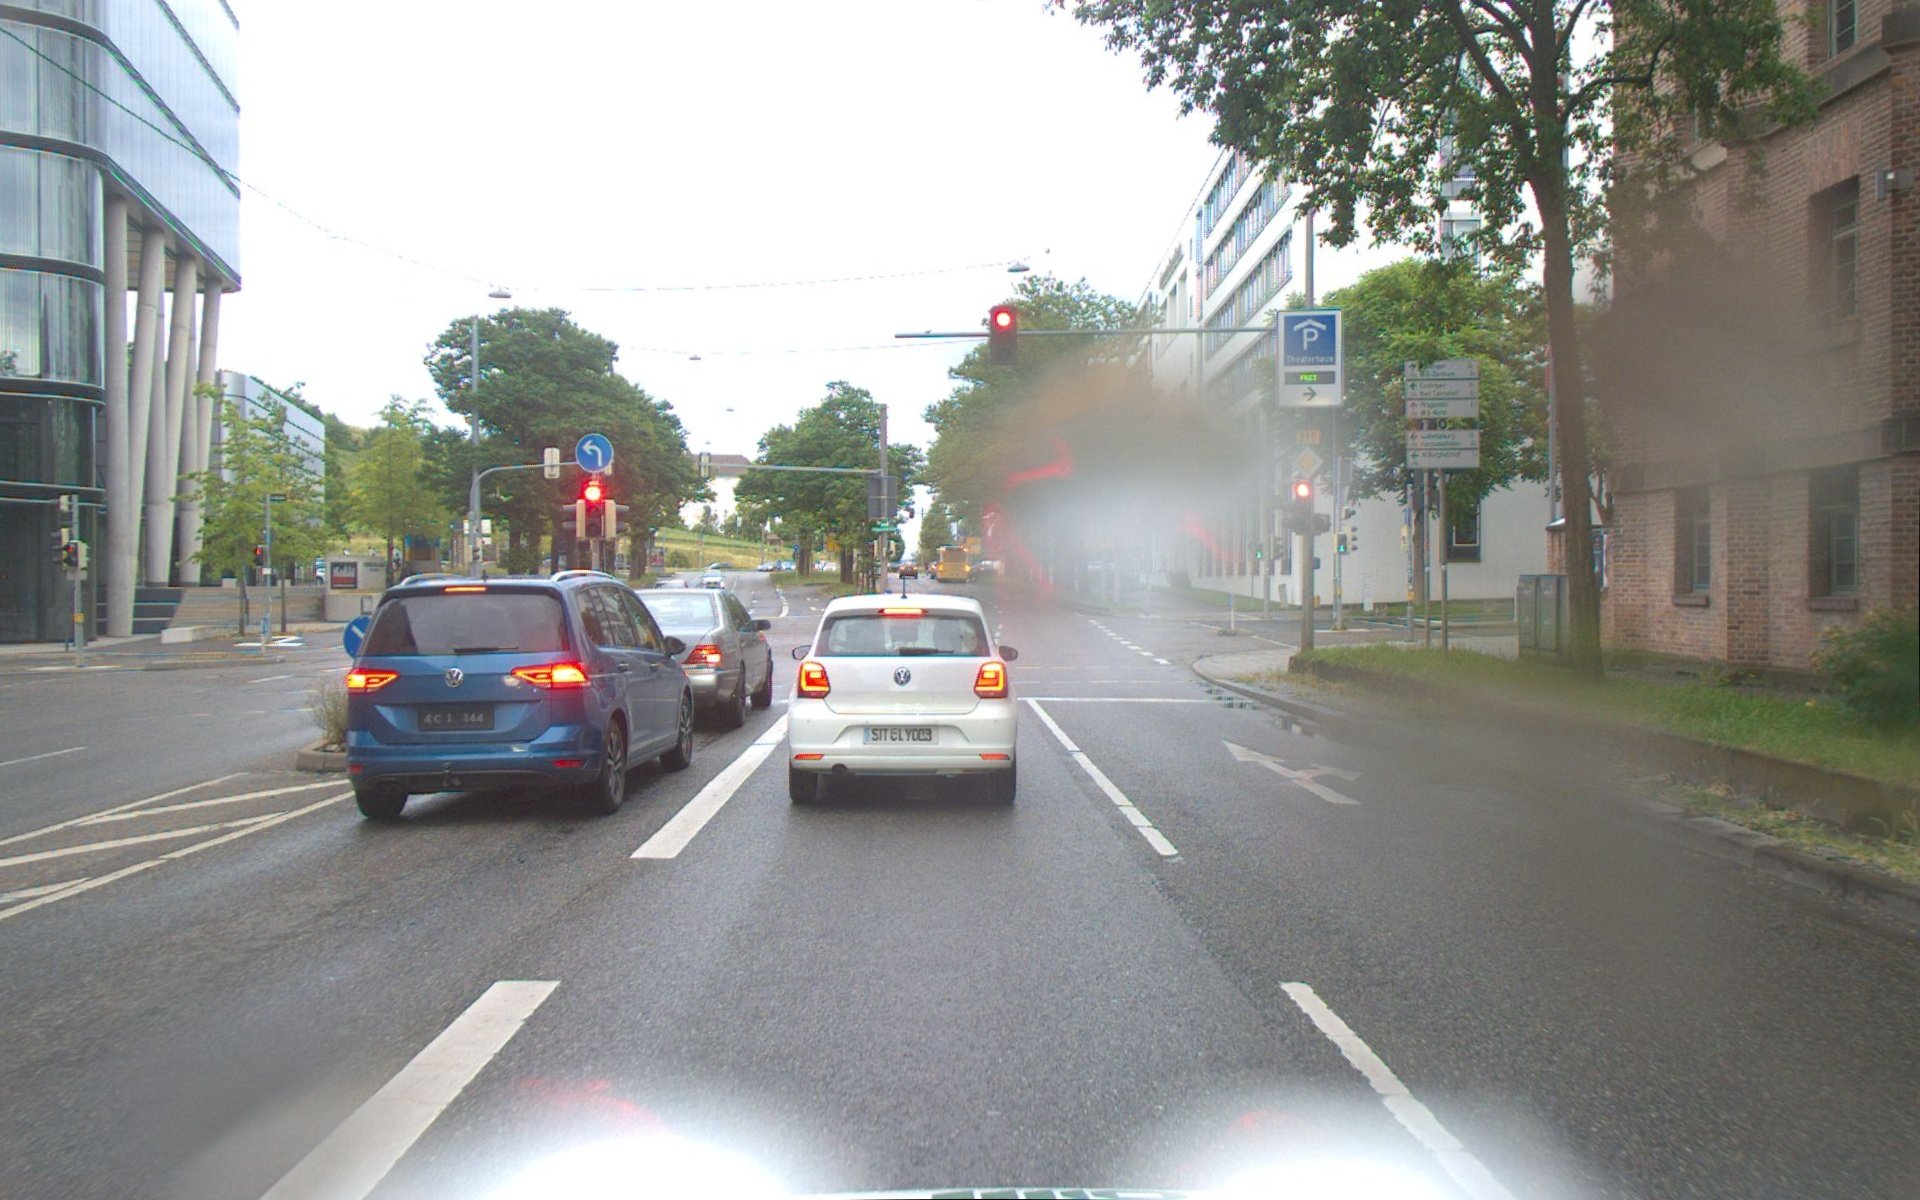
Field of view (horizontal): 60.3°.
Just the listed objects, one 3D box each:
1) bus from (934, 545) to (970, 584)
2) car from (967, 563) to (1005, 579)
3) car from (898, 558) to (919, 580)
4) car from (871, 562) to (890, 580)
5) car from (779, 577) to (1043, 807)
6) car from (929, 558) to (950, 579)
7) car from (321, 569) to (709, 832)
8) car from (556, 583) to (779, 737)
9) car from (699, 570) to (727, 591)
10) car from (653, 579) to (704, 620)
[{"bbox_3d":[-0.772,-3.189,147.365,2.771,3.323,9.996,0,2,-3],"label":"bus"},{"bbox_3d":[2.526,-2.799,159.757,1.670,1.542,3.804,0,1,42],"label":"car"},{"bbox_3d":[-5.023,-2.975,159.767,1.954,2.049,3.998,0,0,-3],"label":"car"},{"bbox_3d":[-7.797,-2.817,161.327,1.759,1.772,3.997,-1,1,-4],"label":"car"},{"bbox_3d":[-0.375,0.597,13.028,1.758,1.528,3.999,0,0,-2],"label":"car"},{"bbox_3d":[-2.024,-3.050,160.836,1.954,2.049,3.998,0,0,-3],"label":"car"},{"bbox_3d":[-3.127,0.616,12.533,1.736,1.624,4.198,-1,0,1],"label":"car"},{"bbox_3d":[-3.211,0.592,18.949,1.809,1.537,4.048,-1,0,0],"label":"car"},{"bbox_3d":[-18.315,-1.452,122.793,1.779,1.436,4.651,-2,2,-5],"label":"car"},{"bbox_3d":[-11.422,-0.049,67.331,1.716,1.547,3.813,-1,1,-5],"label":"car"}]
